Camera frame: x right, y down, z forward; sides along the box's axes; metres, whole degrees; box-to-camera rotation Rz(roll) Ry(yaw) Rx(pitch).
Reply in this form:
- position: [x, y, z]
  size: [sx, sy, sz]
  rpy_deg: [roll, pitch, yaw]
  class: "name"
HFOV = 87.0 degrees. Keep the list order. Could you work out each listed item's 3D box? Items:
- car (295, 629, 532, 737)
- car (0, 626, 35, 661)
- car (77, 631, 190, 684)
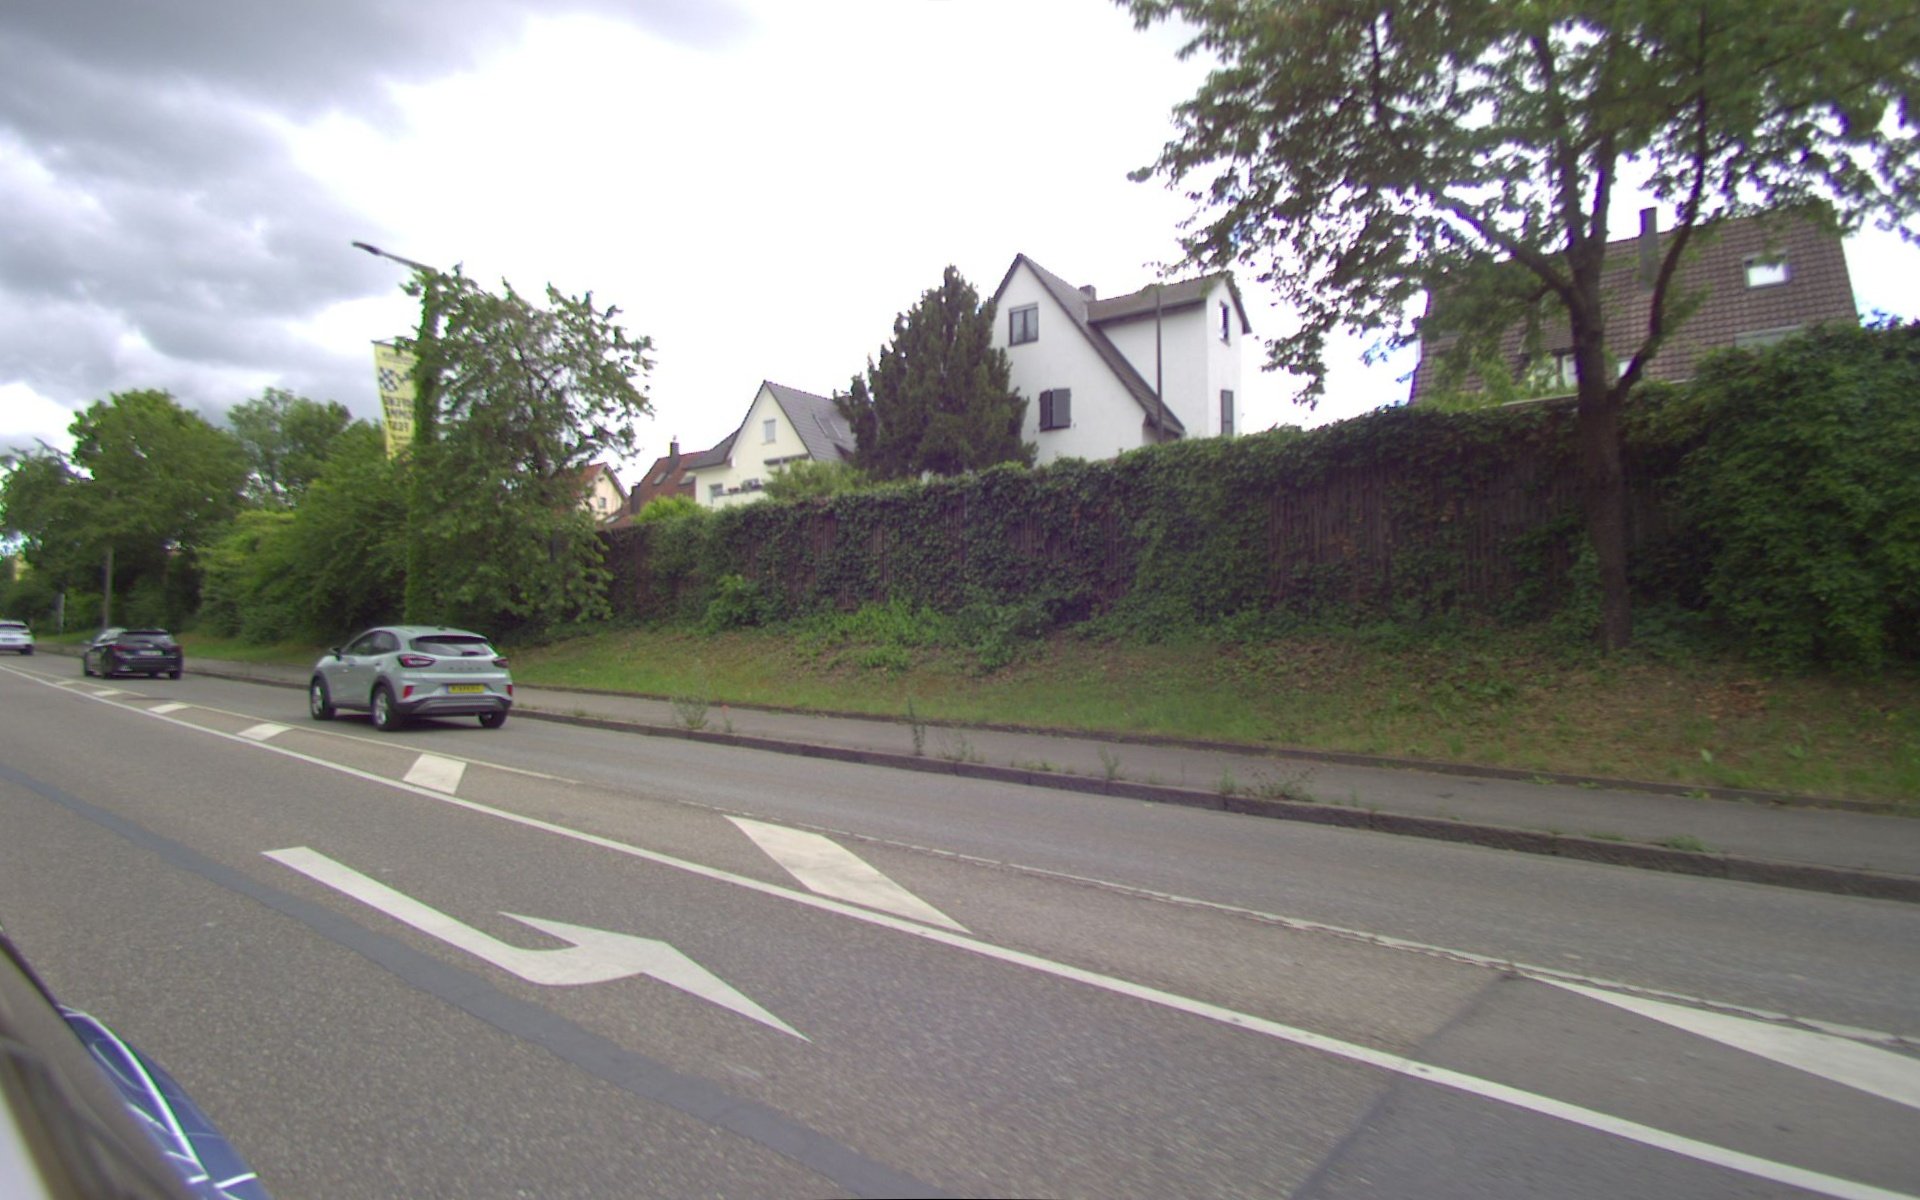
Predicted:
- position: [-8.620, 1.229, 15.836]
  size: [4.139, 1.468, 1.808]
  rpy_deg: [-1, -5, 40]
  class: "car"
- position: [-46.345, 2.069, 48.971]
  size: [4.157, 1.633, 1.822]
  rpy_deg: [-1, -4, 41]
  class: "car"
- position: [-23.843, 1.628, 29.150]
  size: [4.213, 1.411, 1.748]
  rpy_deg: [-1, -5, 40]
  class: "car"
